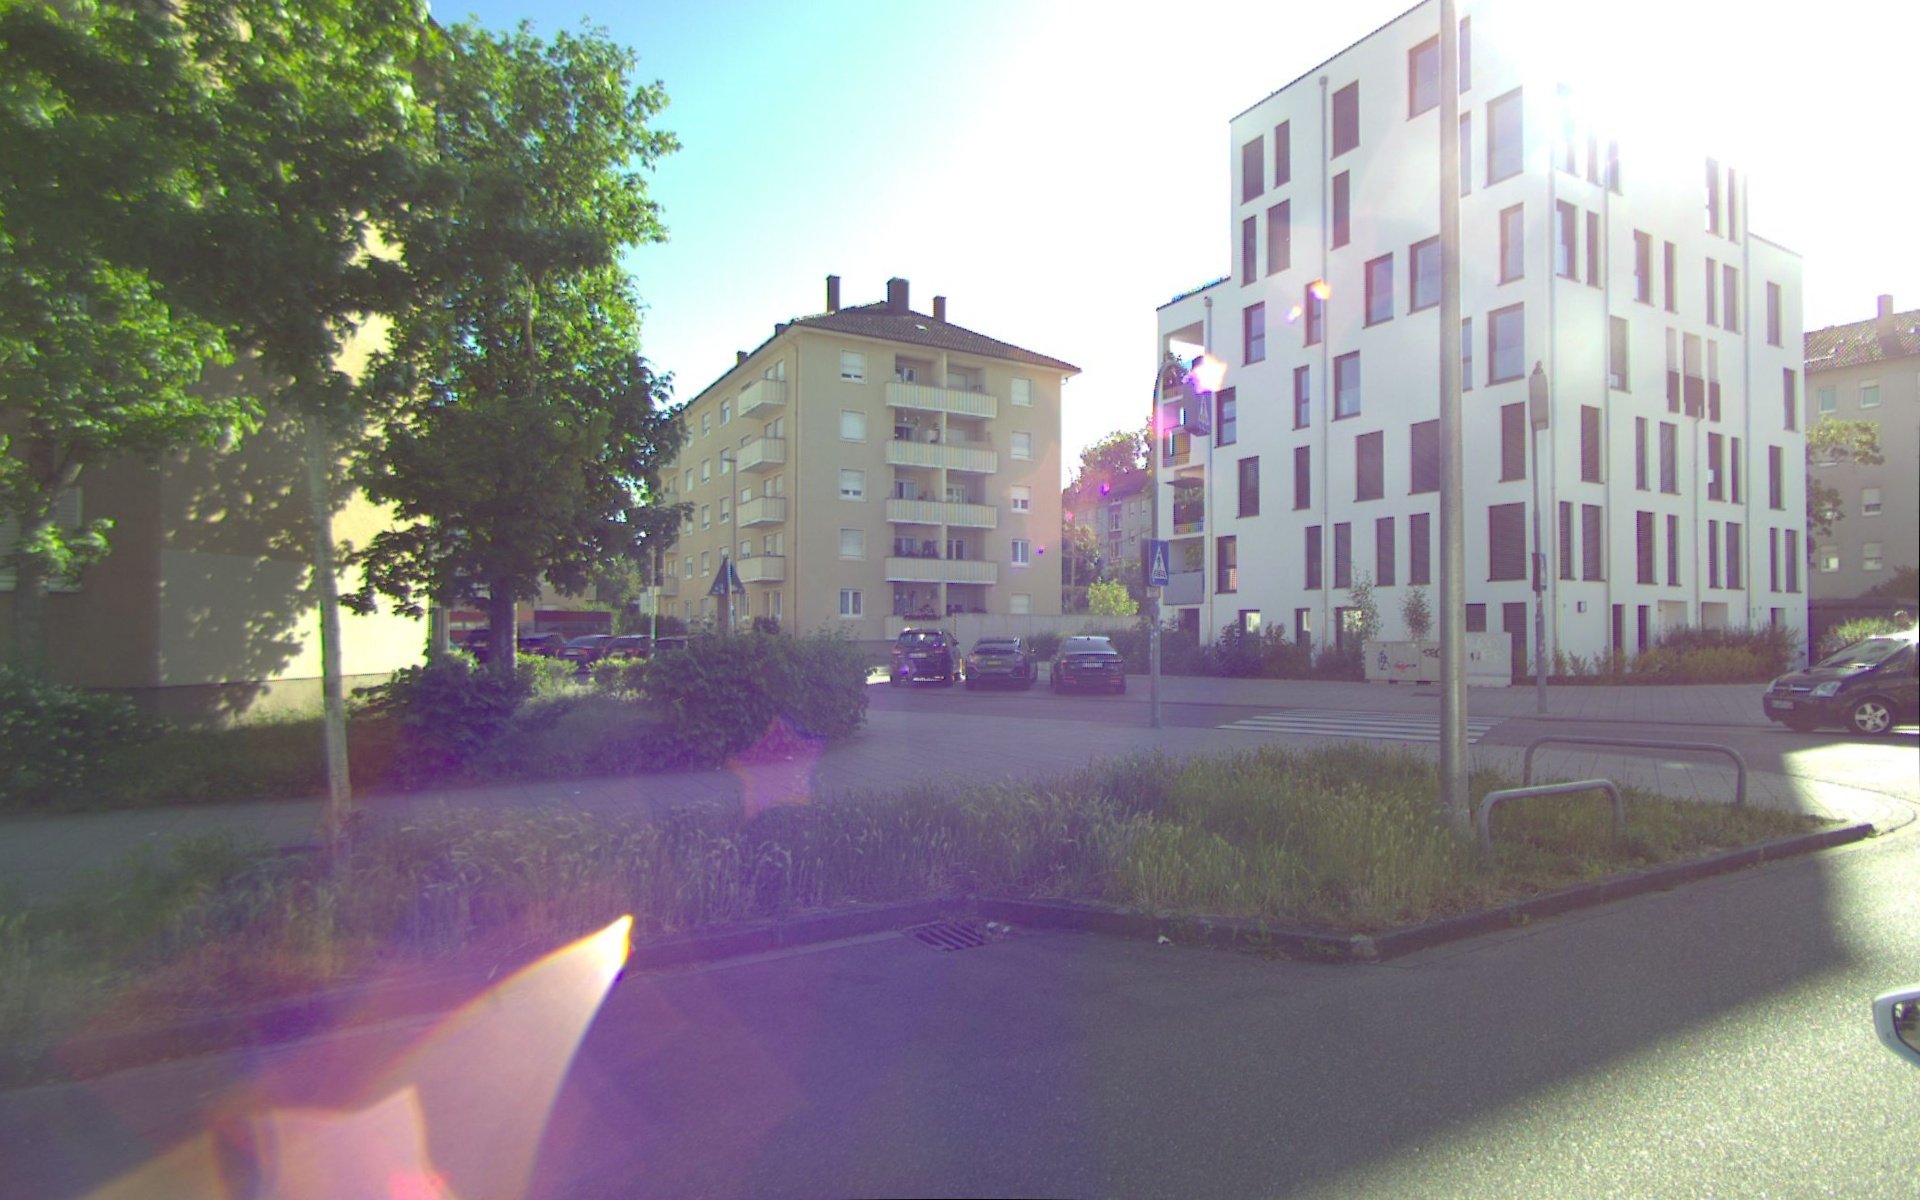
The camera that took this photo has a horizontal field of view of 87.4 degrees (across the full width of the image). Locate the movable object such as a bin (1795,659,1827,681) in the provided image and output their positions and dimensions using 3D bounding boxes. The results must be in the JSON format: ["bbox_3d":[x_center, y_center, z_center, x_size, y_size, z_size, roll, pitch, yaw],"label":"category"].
[{"bbox_3d":[22.407,1.845,26.455,0.674,0.549,0.272,1,-1,-10],"label":"movable object such as a bin"}]

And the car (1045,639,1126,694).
[{"bbox_3d":[3.283,1.721,26.766,1.960,1.182,4.566,-1,0,6],"label":"car"}]

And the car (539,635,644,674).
[{"bbox_3d":[-14.298,2.088,39.205,1.959,1.327,4.002,1,0,14],"label":"car"}]

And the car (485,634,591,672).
[{"bbox_3d":[-17.172,2.137,41.095,1.959,1.327,4.002,1,0,14],"label":"car"}]

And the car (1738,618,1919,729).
[{"bbox_3d":[14.767,1.136,15.489,4.030,1.550,1.744,2,0,7],"label":"car"}]

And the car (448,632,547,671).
[{"bbox_3d":[-19.647,2.169,42.881,1.959,1.272,4.002,2,2,8],"label":"car"}]

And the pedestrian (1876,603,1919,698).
[{"bbox_3d":[19.679,1.034,20.851,0.785,1.910,0.836,2,0,-40],"label":"pedestrian"}]

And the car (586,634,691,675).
[{"bbox_3d":[-12.024,2.003,37.834,1.959,1.327,4.002,1,0,14],"label":"car"}]

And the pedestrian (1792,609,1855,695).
[{"bbox_3d":[22.066,1.324,25.684,0.939,2.149,0.776,-1,-1,13],"label":"pedestrian"}]

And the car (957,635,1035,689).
[{"bbox_3d":[1.111,1.739,29.035,1.960,1.450,4.567,-1,-2,6],"label":"car"}]

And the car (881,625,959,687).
[{"bbox_3d":[-1.121,1.631,30.269,1.960,1.673,4.001,-1,0,3],"label":"car"}]
